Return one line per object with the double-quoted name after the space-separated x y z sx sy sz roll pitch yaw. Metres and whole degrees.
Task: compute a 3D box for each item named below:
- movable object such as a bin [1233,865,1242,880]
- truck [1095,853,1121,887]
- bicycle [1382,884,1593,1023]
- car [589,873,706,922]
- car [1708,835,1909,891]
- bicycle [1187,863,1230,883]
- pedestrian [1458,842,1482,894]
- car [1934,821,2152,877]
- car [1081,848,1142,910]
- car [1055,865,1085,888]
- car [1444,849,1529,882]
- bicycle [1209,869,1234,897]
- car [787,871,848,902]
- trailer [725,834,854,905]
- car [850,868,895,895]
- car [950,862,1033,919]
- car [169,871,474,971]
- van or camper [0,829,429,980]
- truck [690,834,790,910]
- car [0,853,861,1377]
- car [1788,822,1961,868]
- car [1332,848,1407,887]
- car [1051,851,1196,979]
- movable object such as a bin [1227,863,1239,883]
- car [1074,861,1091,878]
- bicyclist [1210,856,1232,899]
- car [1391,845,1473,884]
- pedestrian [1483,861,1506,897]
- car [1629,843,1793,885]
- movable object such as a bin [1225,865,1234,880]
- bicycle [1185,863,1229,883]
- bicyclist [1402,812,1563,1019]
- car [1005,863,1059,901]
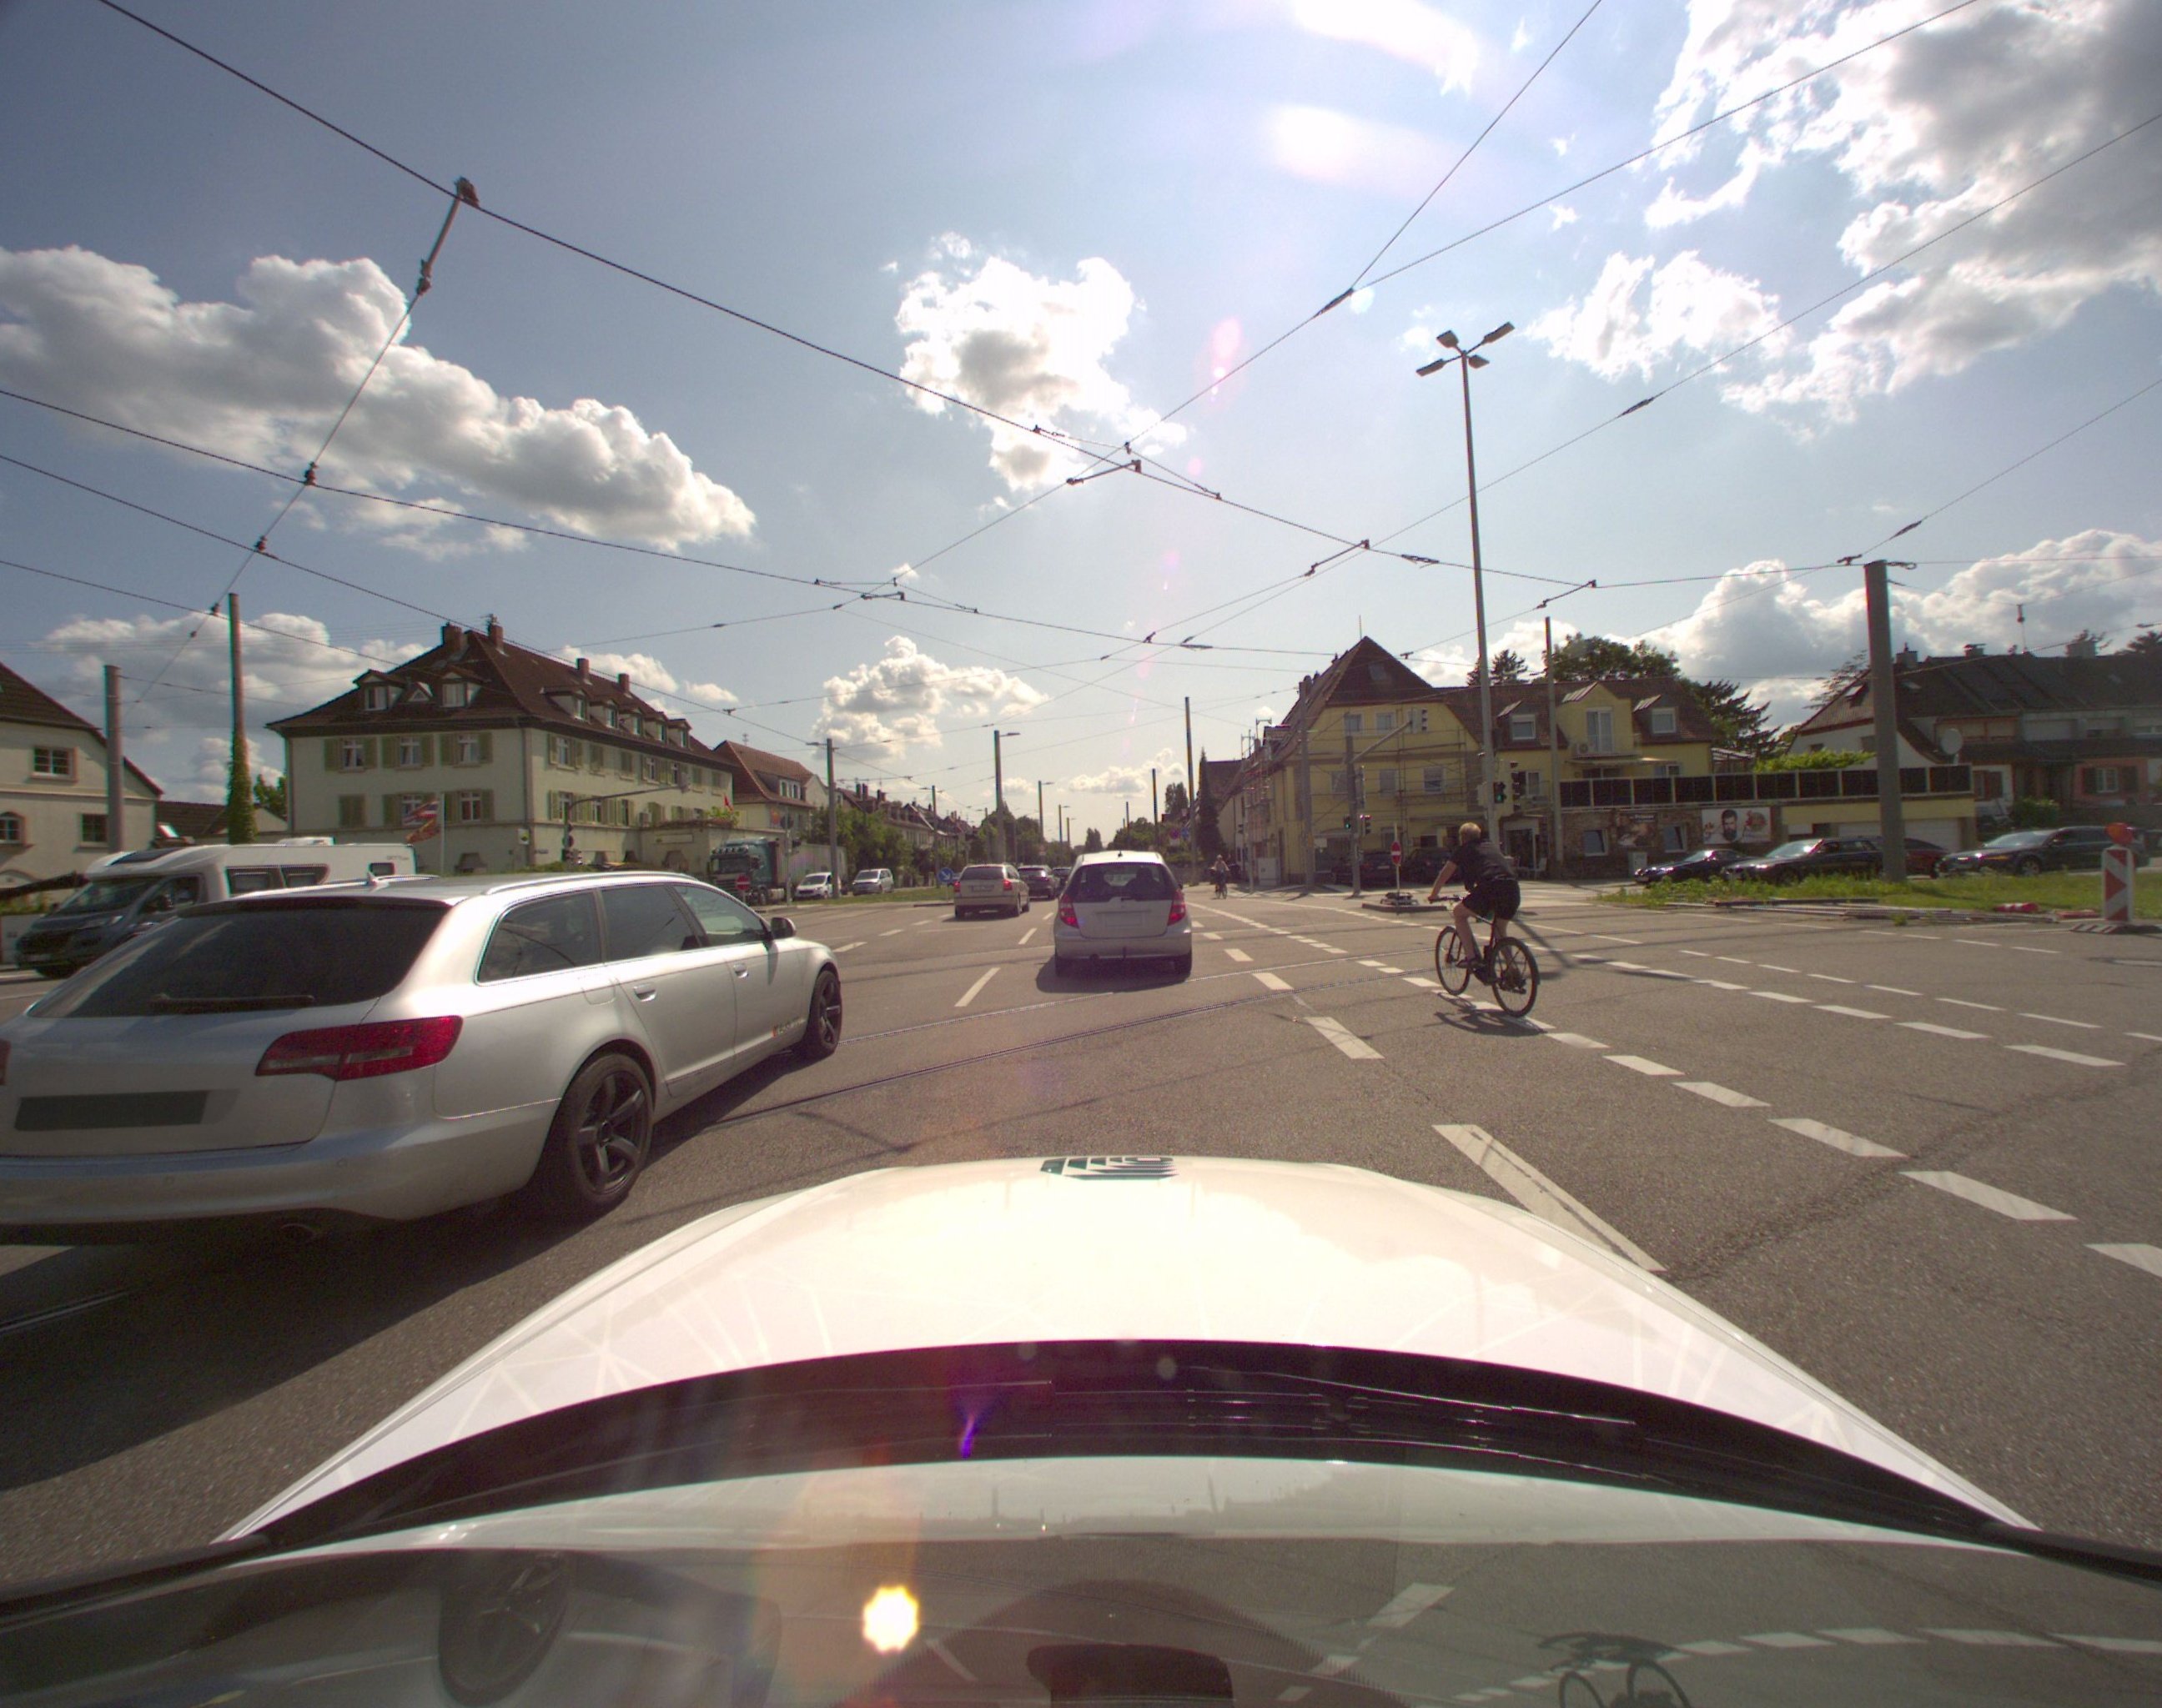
10.098 1.179 52.589 0.466 0.947 0.558 -3 -2 2 "movable object such as a bin"
2.098 1.274 65.020 1.846 2.552 5.854 -1 -1 0 "truck"
3.819 0.878 7.891 0.827 1.075 1.966 -4 -1 -7 "bicycle"
-16.503 1.605 31.251 1.986 1.552 4.180 -6 -2 2 "car"
21.071 0.265 23.713 4.303 1.328 1.738 -3 -1 -2 "car"
8.187 1.232 52.377 2.652 1.105 0.786 -3 -2 1 "bicycle"
12.418 0.447 25.983 0.544 1.644 0.402 -1 -2 6 "pedestrian"
27.831 -0.110 23.646 4.303 1.328 1.738 -3 -1 -2 "car"
0.993 0.772 25.711 1.723 1.762 4.019 -1 -1 3 "car"
-0.656 1.448 52.273 1.846 1.388 4.513 -1 -1 0 "car"
17.934 0.514 36.224 1.860 1.351 4.133 -1 -1 2 "car"
5.736 1.192 33.306 0.649 1.117 1.585 -1 -2 -5 "bicycle"
-15.450 1.875 48.028 1.787 1.637 4.475 -3 -2 4 "car"
-18.470 0.887 52.964 2.587 3.821 12.851 -5 0 4 "trailer"
-15.006 1.969 58.773 1.788 1.815 4.714 -3 -2 2 "car"
-2.452 0.959 23.199 1.724 1.449 4.125 -1 0 2 "car"
-16.729 1.371 18.409 1.984 1.776 4.884 -4 -1 4 "car"
-20.727 1.073 20.246 2.314 2.930 7.761 -3 -1 3 "van or camper"
-19.016 0.953 45.829 2.587 3.821 5.674 -5 0 5 "truck"
-2.870 0.761 4.702 1.788 1.472 4.723 -2 0 1 "car"
27.168 -0.292 27.982 4.303 1.474 1.738 -1 -2 -2 "car"
12.671 0.597 36.065 1.986 1.596 4.133 -1 -1 2 "car"
0.512 0.747 11.856 1.724 1.517 4.015 -1 0 0 "car"
8.783 1.105 47.030 0.509 1.105 0.855 -2 -2 2 "movable object such as a bin"
0.178 1.708 88.418 1.846 1.843 3.918 -1 -1 0 "car"
5.726 0.958 33.422 0.649 1.738 0.982 -1 -2 -5 "bicyclist"
15.485 0.475 36.161 1.986 1.596 4.133 -1 -1 2 "car"
13.128 0.790 25.855 0.486 1.136 0.389 -1 -2 2 "pedestrian"
21.390 0.343 27.759 4.303 1.308 1.738 -1 -2 -2 "car"
9.605 1.222 52.606 0.466 0.947 0.558 -2 -2 2 "movable object such as a bin"
8.195 1.257 53.112 2.716 1.120 0.691 -3 -2 1 "bicycle"
3.809 0.546 7.828 0.828 1.794 1.081 -4 -1 -8 "bicyclist"
-2.031 1.176 35.080 1.909 1.477 4.563 -1 -1 2 "car"
